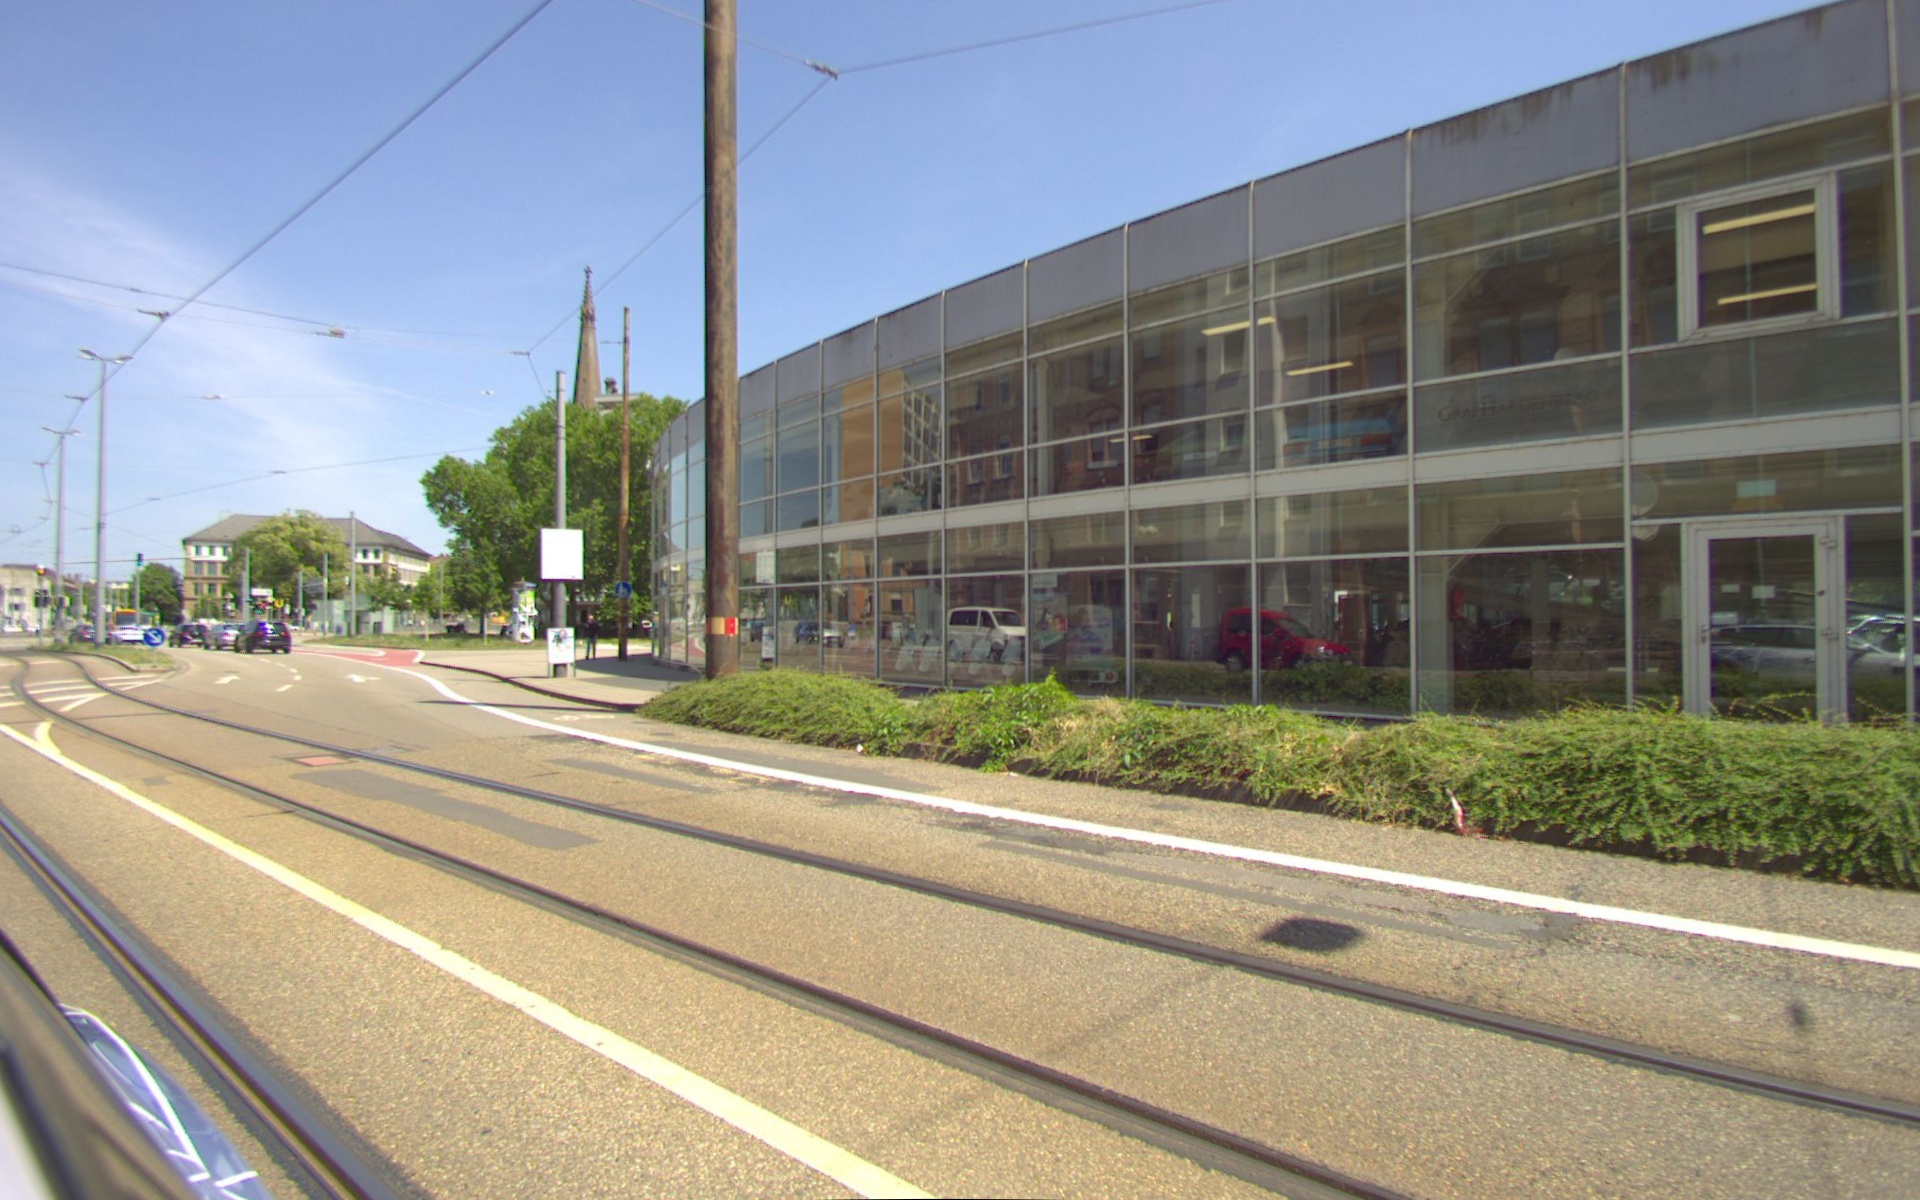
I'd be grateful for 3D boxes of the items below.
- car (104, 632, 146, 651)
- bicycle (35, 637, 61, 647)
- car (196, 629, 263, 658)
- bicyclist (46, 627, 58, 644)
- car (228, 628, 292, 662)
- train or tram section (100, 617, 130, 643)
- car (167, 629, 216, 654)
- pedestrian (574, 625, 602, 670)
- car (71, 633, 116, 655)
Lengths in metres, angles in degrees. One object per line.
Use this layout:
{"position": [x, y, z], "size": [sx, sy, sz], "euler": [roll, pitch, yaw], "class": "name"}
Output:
{"position": [-61.548, 3.043, 74.593], "size": [4.201, 1.309, 1.689], "euler": [-1, -3, 41], "class": "car"}
{"position": [-92.434, 4.286, 102.599], "size": [0.528, 0.986, 1.883], "euler": [-2, -2, 36], "class": "bicycle"}
{"position": [-41.285, 2.461, 57.136], "size": [5.129, 1.542, 1.972], "euler": [-1, -3, 42], "class": "car"}
{"position": [-92.290, 3.601, 102.848], "size": [0.528, 1.701, 0.803], "euler": [-2, -2, 37], "class": "bicyclist"}
{"position": [-35.385, 2.253, 51.132], "size": [4.527, 1.639, 1.801], "euler": [-2, -3, 44], "class": "car"}
{"position": [-108.437, 3.861, 129.990], "size": [2.799, 3.238, 9.125], "euler": [1, -2, -39], "class": "train or tram section"}
{"position": [-47.874, 2.580, 63.041], "size": [3.901, 1.473, 1.653], "euler": [-2, -3, 41], "class": "car"}
{"position": [-14.108, 1.794, 38.366], "size": [0.820, 1.654, 0.719], "euler": [-2, -2, 45], "class": "pedestrian"}
{"position": [-59.755, 3.043, 69.741], "size": [4.329, 1.491, 1.823], "euler": [-3, -4, 43], "class": "car"}
